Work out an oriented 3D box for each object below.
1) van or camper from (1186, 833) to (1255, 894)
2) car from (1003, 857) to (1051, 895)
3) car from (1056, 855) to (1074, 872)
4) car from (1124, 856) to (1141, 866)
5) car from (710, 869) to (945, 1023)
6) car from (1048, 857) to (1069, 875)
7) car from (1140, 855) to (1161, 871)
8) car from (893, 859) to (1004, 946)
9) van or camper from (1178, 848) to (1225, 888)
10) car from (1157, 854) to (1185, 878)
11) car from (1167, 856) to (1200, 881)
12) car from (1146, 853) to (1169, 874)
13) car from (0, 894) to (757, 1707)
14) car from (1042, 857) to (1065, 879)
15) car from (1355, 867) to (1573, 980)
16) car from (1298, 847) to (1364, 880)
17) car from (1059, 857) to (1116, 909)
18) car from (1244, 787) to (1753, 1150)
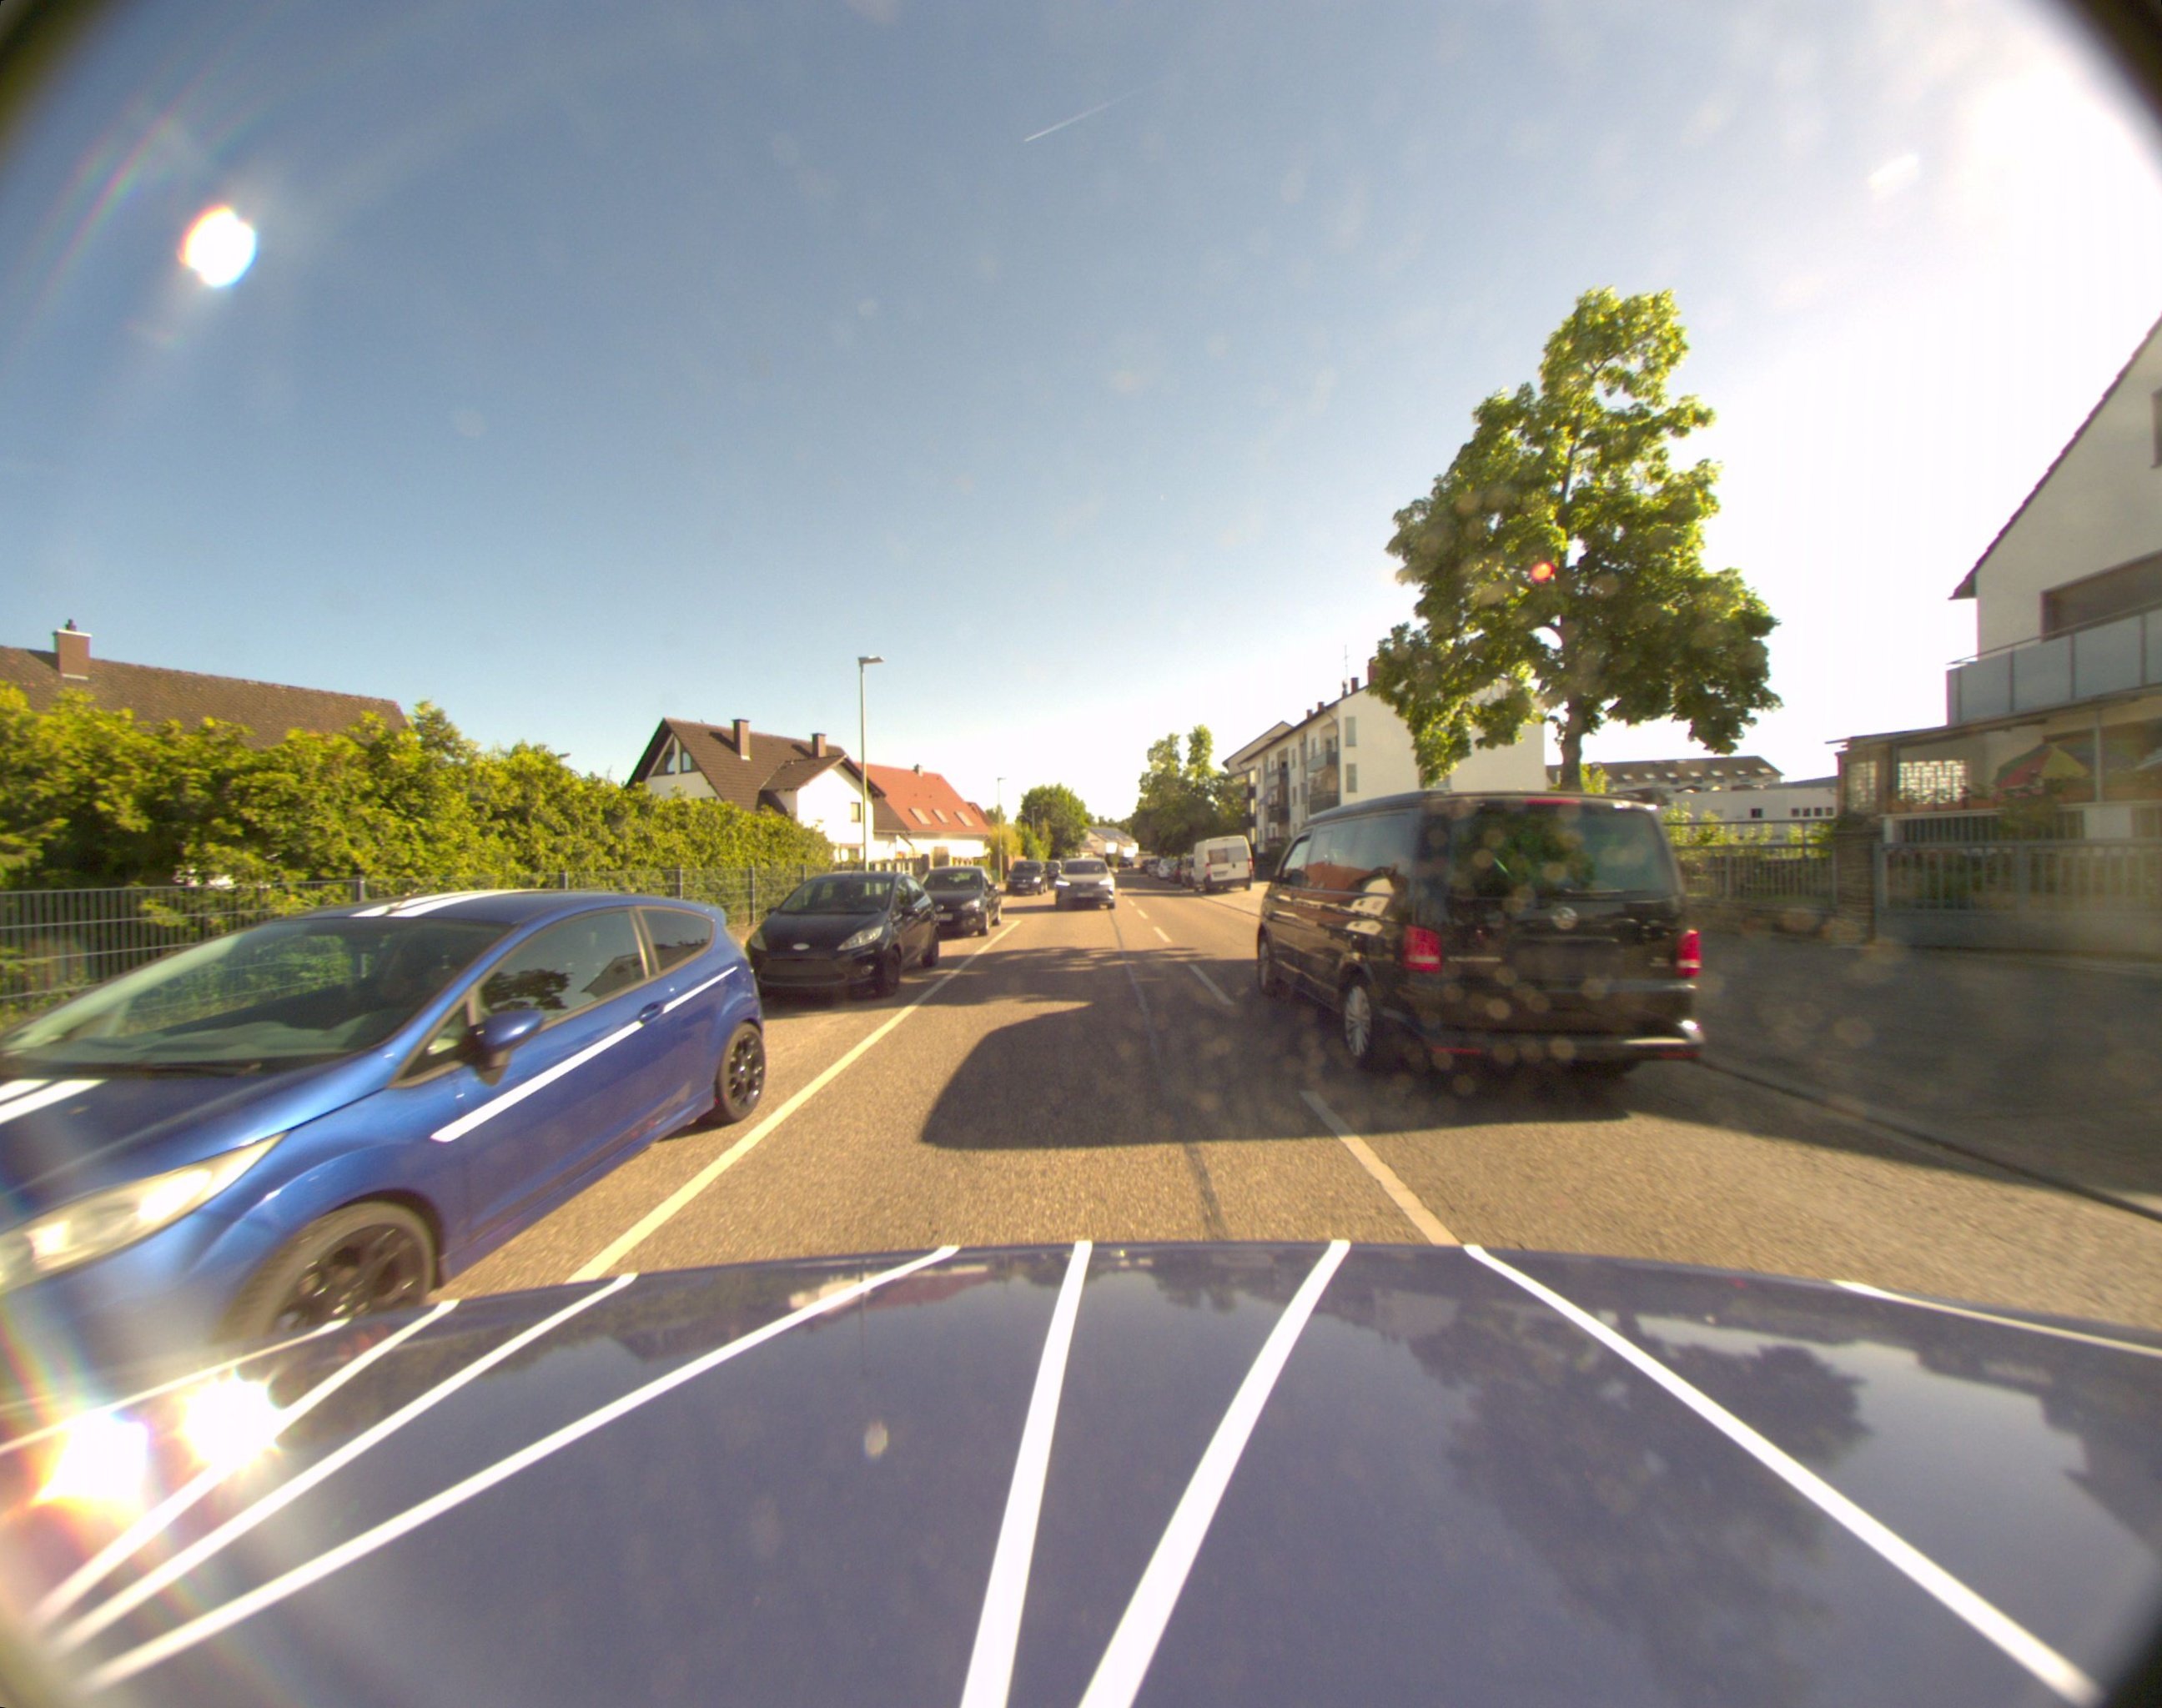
[{"bbox_3d":[6.485,0.438,35.949,2.128,2.475,5.556,-5,0,1],"label":"van or camper"},{"bbox_3d":[-2.565,1.017,36.768,1.780,1.649,4.304,-2,0,2],"label":"car"},{"bbox_3d":[-1.659,0.978,80.936,1.747,1.802,4.429,-1,0,0],"label":"car"},{"bbox_3d":[8.678,1.193,128.381,1.774,1.727,3.710,2,1,23],"label":"car"},{"bbox_3d":[-3.037,1.015,10.005,1.723,1.496,3.906,-2,0,0],"label":"car"},{"bbox_3d":[-2.050,1.084,69.995,1.646,1.485,3.890,-1,0,2],"label":"car"},{"bbox_3d":[7.248,0.899,79.880,1.726,1.485,4.543,-3,0,0],"label":"car"},{"bbox_3d":[-2.822,0.970,16.977,1.780,1.649,3.816,-2,0,-1],"label":"car"},{"bbox_3d":[6.568,0.728,41.863,1.882,2.002,4.279,-4,0,2],"label":"van or camper"},{"bbox_3d":[6.553,0.828,55.509,1.696,1.557,3.908,-4,0,4],"label":"car"},{"bbox_3d":[6.573,0.901,49.003,1.613,1.427,4.313,-3,0,1],"label":"car"},{"bbox_3d":[6.820,0.796,67.677,1.726,1.583,3.909,-7,0,3],"label":"car"},{"bbox_3d":[-2.995,1.044,3.135,1.723,1.496,3.563,-2,0,0],"label":"car"},{"bbox_3d":[-2.134,1.022,58.223,1.661,1.591,3.815,-2,0,-2],"label":"car"},{"bbox_3d":[6.193,1.033,12.890,1.691,1.427,4.209,-4,0,3],"label":"car"},{"bbox_3d":[12.994,0.463,39.365,1.610,1.505,4.397,-2,0,41],"label":"car"},{"bbox_3d":[0.204,0.933,25.929,1.777,1.624,3.704,-1,0,0],"label":"car"},{"bbox_3d":[2.841,0.628,6.661,1.898,2.019,4.818,0,0,2],"label":"car"}]
